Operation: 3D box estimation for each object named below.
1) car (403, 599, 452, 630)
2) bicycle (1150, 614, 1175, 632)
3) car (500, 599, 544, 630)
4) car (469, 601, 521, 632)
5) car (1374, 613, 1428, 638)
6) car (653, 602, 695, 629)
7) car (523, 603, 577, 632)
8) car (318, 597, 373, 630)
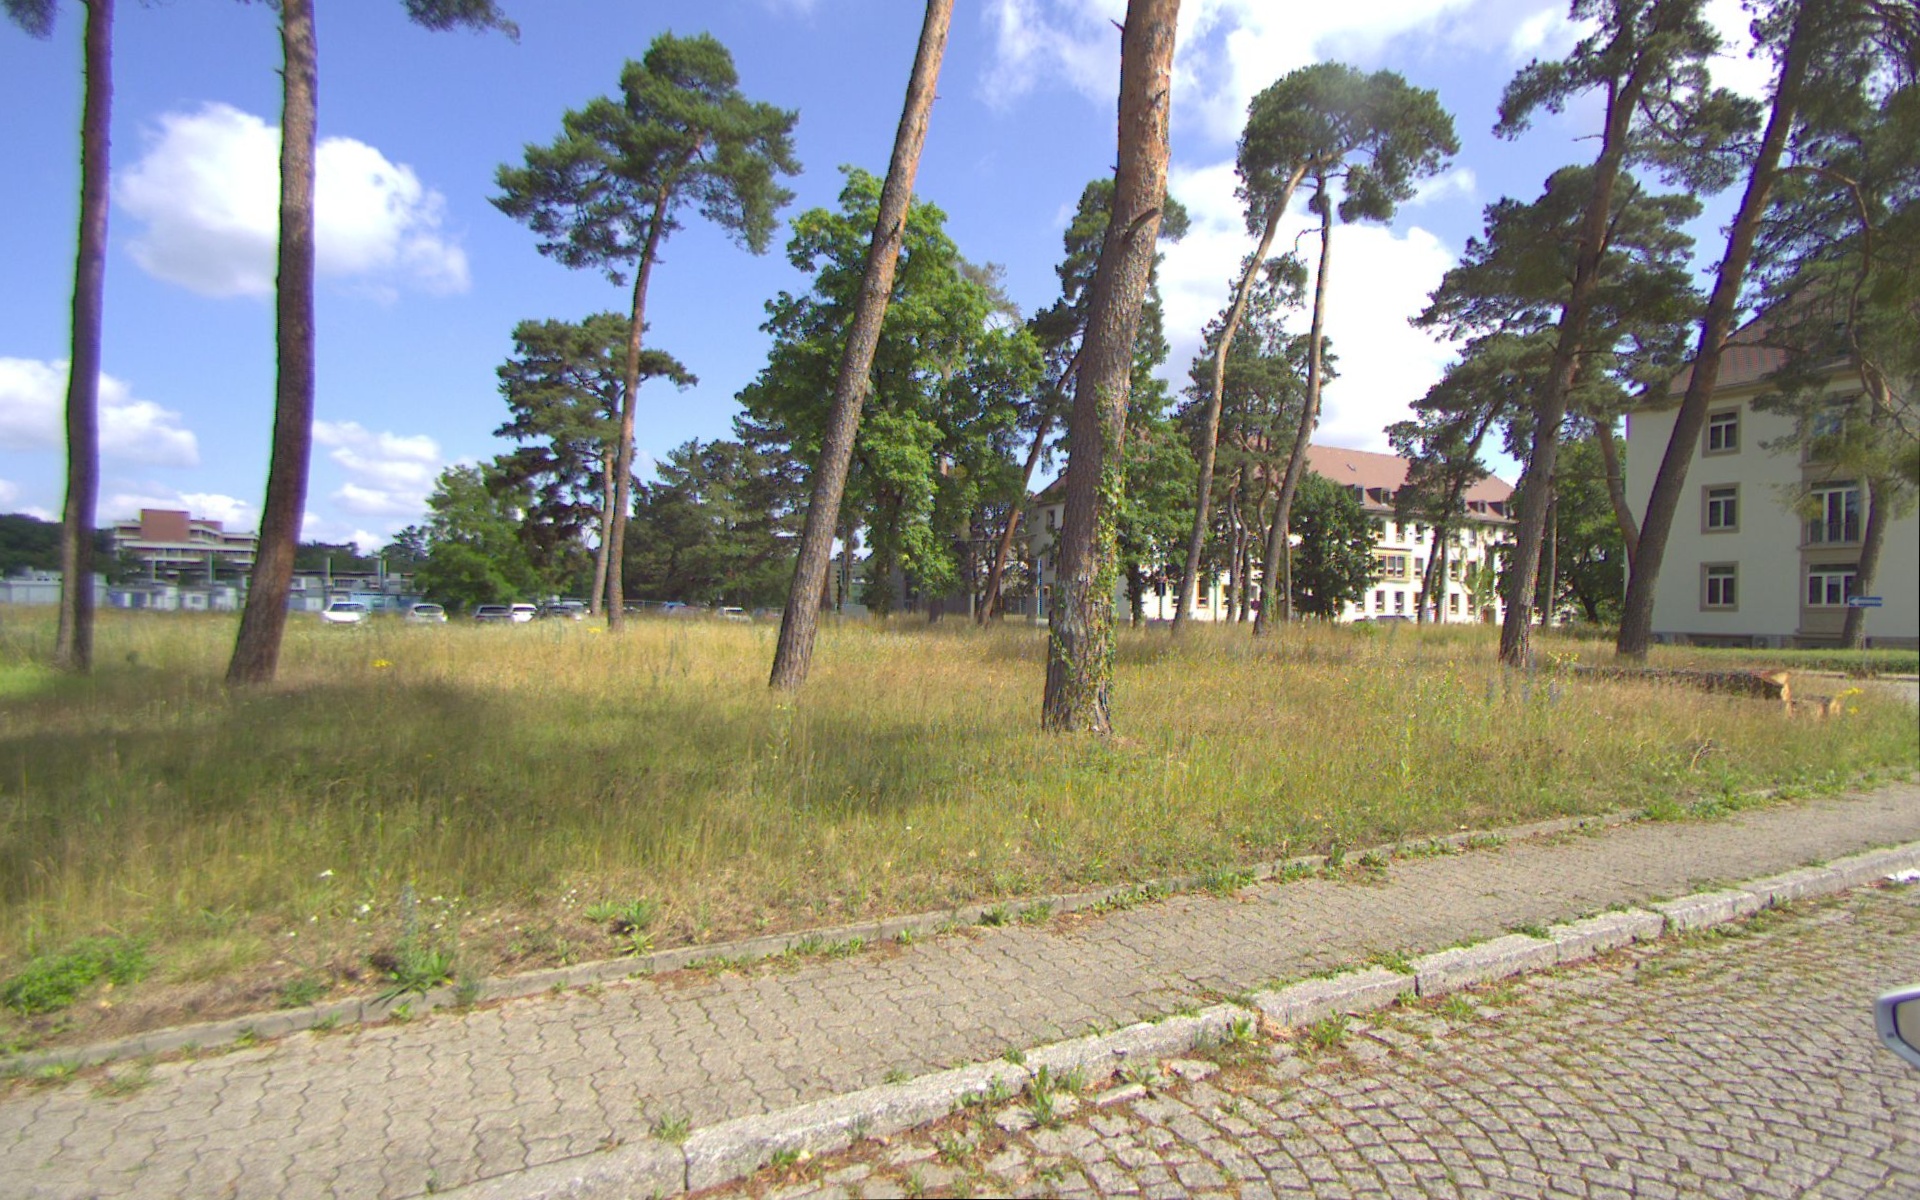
[{"bbox_3d":[-24.360,0.667,45.882,1.878,1.356,4.048,1,-1,-29],"label":"car"},{"bbox_3d":[12.924,1.442,64.143,1.561,1.115,0.489,1,-1,-18],"label":"bicycle"},{"bbox_3d":[-25.095,0.838,57.520,1.878,1.724,4.048,1,-1,-29],"label":"car"},{"bbox_3d":[-21.672,0.759,46.758,1.878,1.337,4.048,1,-1,-29],"label":"car"},{"bbox_3d":[37.250,2.129,84.894,1.691,2.018,4.044,1,-1,-27],"label":"car"},{"bbox_3d":[-19.741,1.045,69.323,1.878,1.803,4.048,1,-1,-29],"label":"car"},{"bbox_3d":[-19.555,0.836,47.781,1.878,1.326,4.048,1,-1,-29],"label":"car"},{"bbox_3d":[-26.998,0.591,44.262,1.878,1.366,4.040,1,-1,-29],"label":"car"}]
